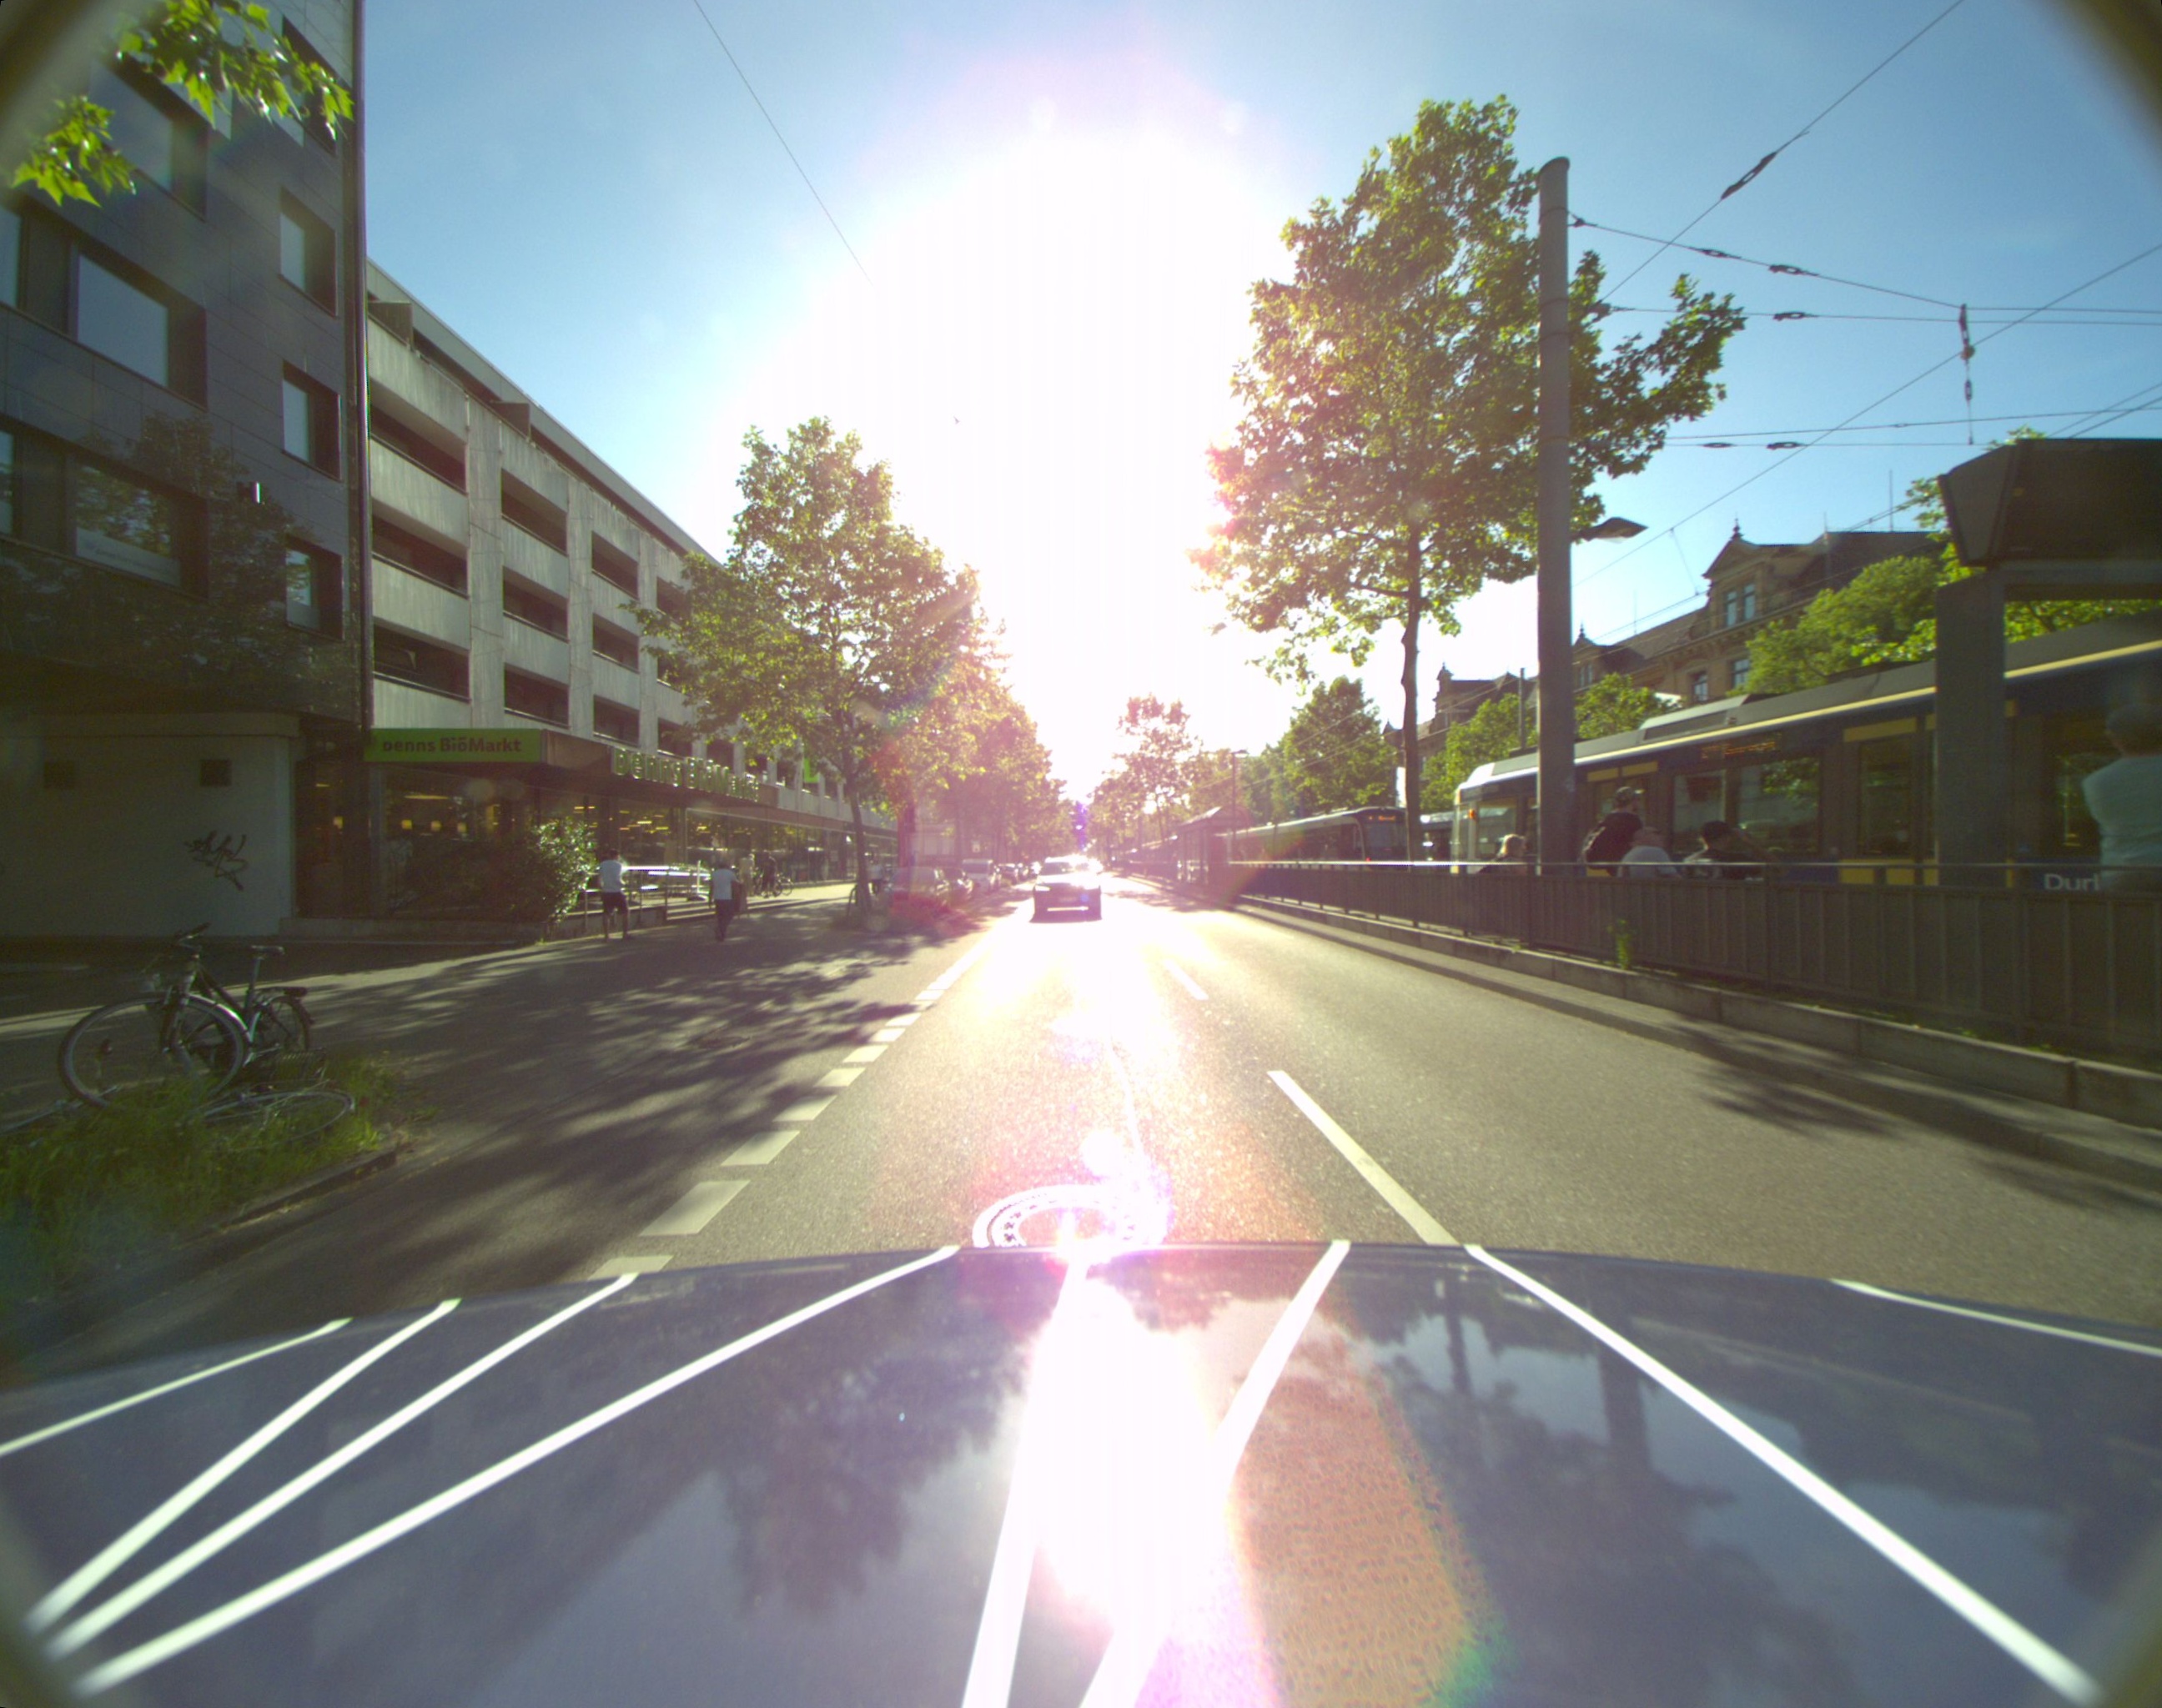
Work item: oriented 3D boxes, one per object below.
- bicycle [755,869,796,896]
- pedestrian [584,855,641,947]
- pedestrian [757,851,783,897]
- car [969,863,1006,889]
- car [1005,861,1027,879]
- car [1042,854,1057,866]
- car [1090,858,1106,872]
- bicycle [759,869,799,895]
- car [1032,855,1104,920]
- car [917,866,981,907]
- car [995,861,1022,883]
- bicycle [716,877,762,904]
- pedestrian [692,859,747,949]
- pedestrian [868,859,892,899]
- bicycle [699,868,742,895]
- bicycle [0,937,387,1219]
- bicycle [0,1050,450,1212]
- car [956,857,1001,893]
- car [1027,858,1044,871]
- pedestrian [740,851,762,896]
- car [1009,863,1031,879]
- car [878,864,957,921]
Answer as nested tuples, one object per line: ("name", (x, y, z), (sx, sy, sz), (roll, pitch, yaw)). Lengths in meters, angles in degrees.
("bicycle", (-12.818, 1.182, 31.910), (1.700, 1.049, 0.587), (1, -1, 26))
("pedestrian", (-9.113, 0.892, 14.795), (0.561, 1.734, 0.878), (0, 0, -1))
("pedestrian", (-11.477, 0.735, 28.065), (0.559, 1.668, 0.882), (1, 0, -1))
("car", (-5.488, 1.261, 45.013), (1.733, 1.395, 4.295), (1, 0, -1))
("car", (-5.611, 1.367, 65.766), (1.630, 1.433, 3.930), (0, 0, -1))
("car", (-4.383, 0.836, 106.697), (1.839, 1.666, 4.273), (-2, 0, -1))
("car", (1.877, 1.213, 82.842), (1.706, 1.407, 3.875), (-2, 0, 1))
("bicycle", (-13.102, 1.187, 32.961), (1.700, 1.049, 0.587), (2, 0, 26))
("car", (-0.370, 0.899, 22.704), (1.914, 1.695, 4.273), (-2, 0, -1))
("car", (-5.152, 1.218, 30.218), (1.766, 1.409, 4.700), (-2, 0, -1))
("car", (-5.260, 1.281, 55.405), (1.677, 1.430, 3.689), (1, 1, -2))
("bicycle", (-12.611, 1.338, 27.981), (1.647, 0.910, 0.587), (1, -3, 26))
("pedestrian", (-7.055, 0.948, 14.873), (0.561, 1.694, 1.052), (0, 0, -1))
("pedestrian", (-8.132, 1.000, 30.769), (0.699, 1.603, 0.868), (1, 0, 1))
("bicycle", (-14.587, 1.111, 30.744), (1.700, 1.049, 0.587), (1, -3, 26))
("bicycle", (-5.203, 1.163, 4.507), (0.791, 1.126, 1.844), (-1, 0, -13))
("bicycle", (-4.812, 1.429, 4.121), (1.613, 0.351, 1.389), (1, 0, 0))
("car", (-5.312, 1.050, 39.909), (1.768, 1.781, 4.393), (0, 0, 0))
("car", (-5.805, 1.364, 96.941), (1.839, 1.555, 4.273), (-2, 0, -1))
("pedestrian", (-12.801, 0.751, 29.482), (0.614, 1.705, 0.612), (6, -1, -25))
("car", (-5.685, 1.609, 70.965), (1.781, 1.373, 4.276), (-1, 0, -1))
("car", (-4.958, 1.120, 23.524), (1.569, 1.541, 4.000), (-1, 0, 0))
